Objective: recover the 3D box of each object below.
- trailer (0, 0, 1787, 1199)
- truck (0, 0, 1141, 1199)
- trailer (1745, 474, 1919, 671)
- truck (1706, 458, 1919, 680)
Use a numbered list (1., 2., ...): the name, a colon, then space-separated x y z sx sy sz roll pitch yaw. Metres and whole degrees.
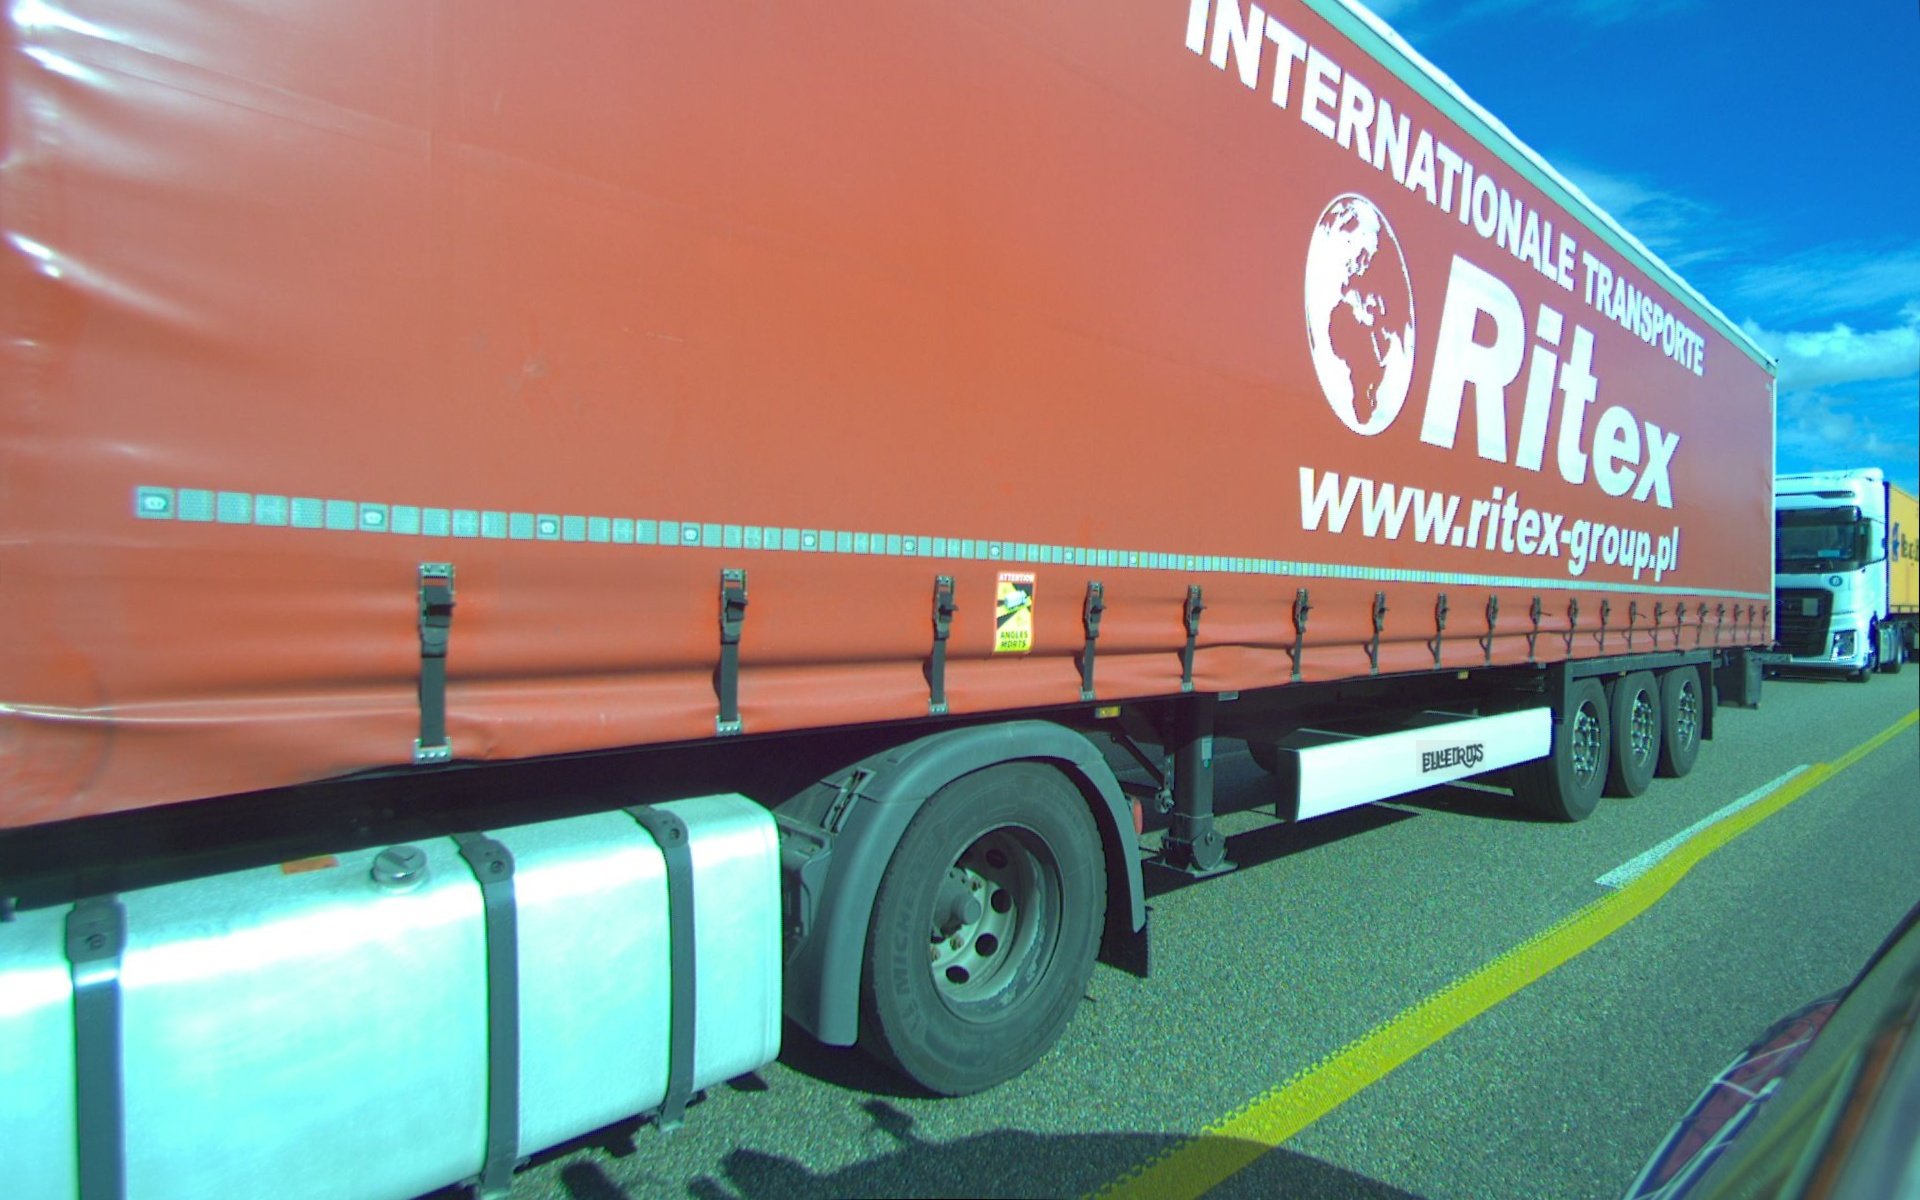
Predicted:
1. trailer: 2.589 -0.767 6.872 13.187 4.019 2.703 -1 0 -42
2. truck: -2.372 -0.720 2.400 5.612 4.010 2.671 0 0 -42
3. trailer: 22.004 -0.547 24.530 11.924 3.823 2.475 0 0 -41
4. truck: 17.221 -0.565 20.314 5.690 3.828 2.498 0 0 -42
